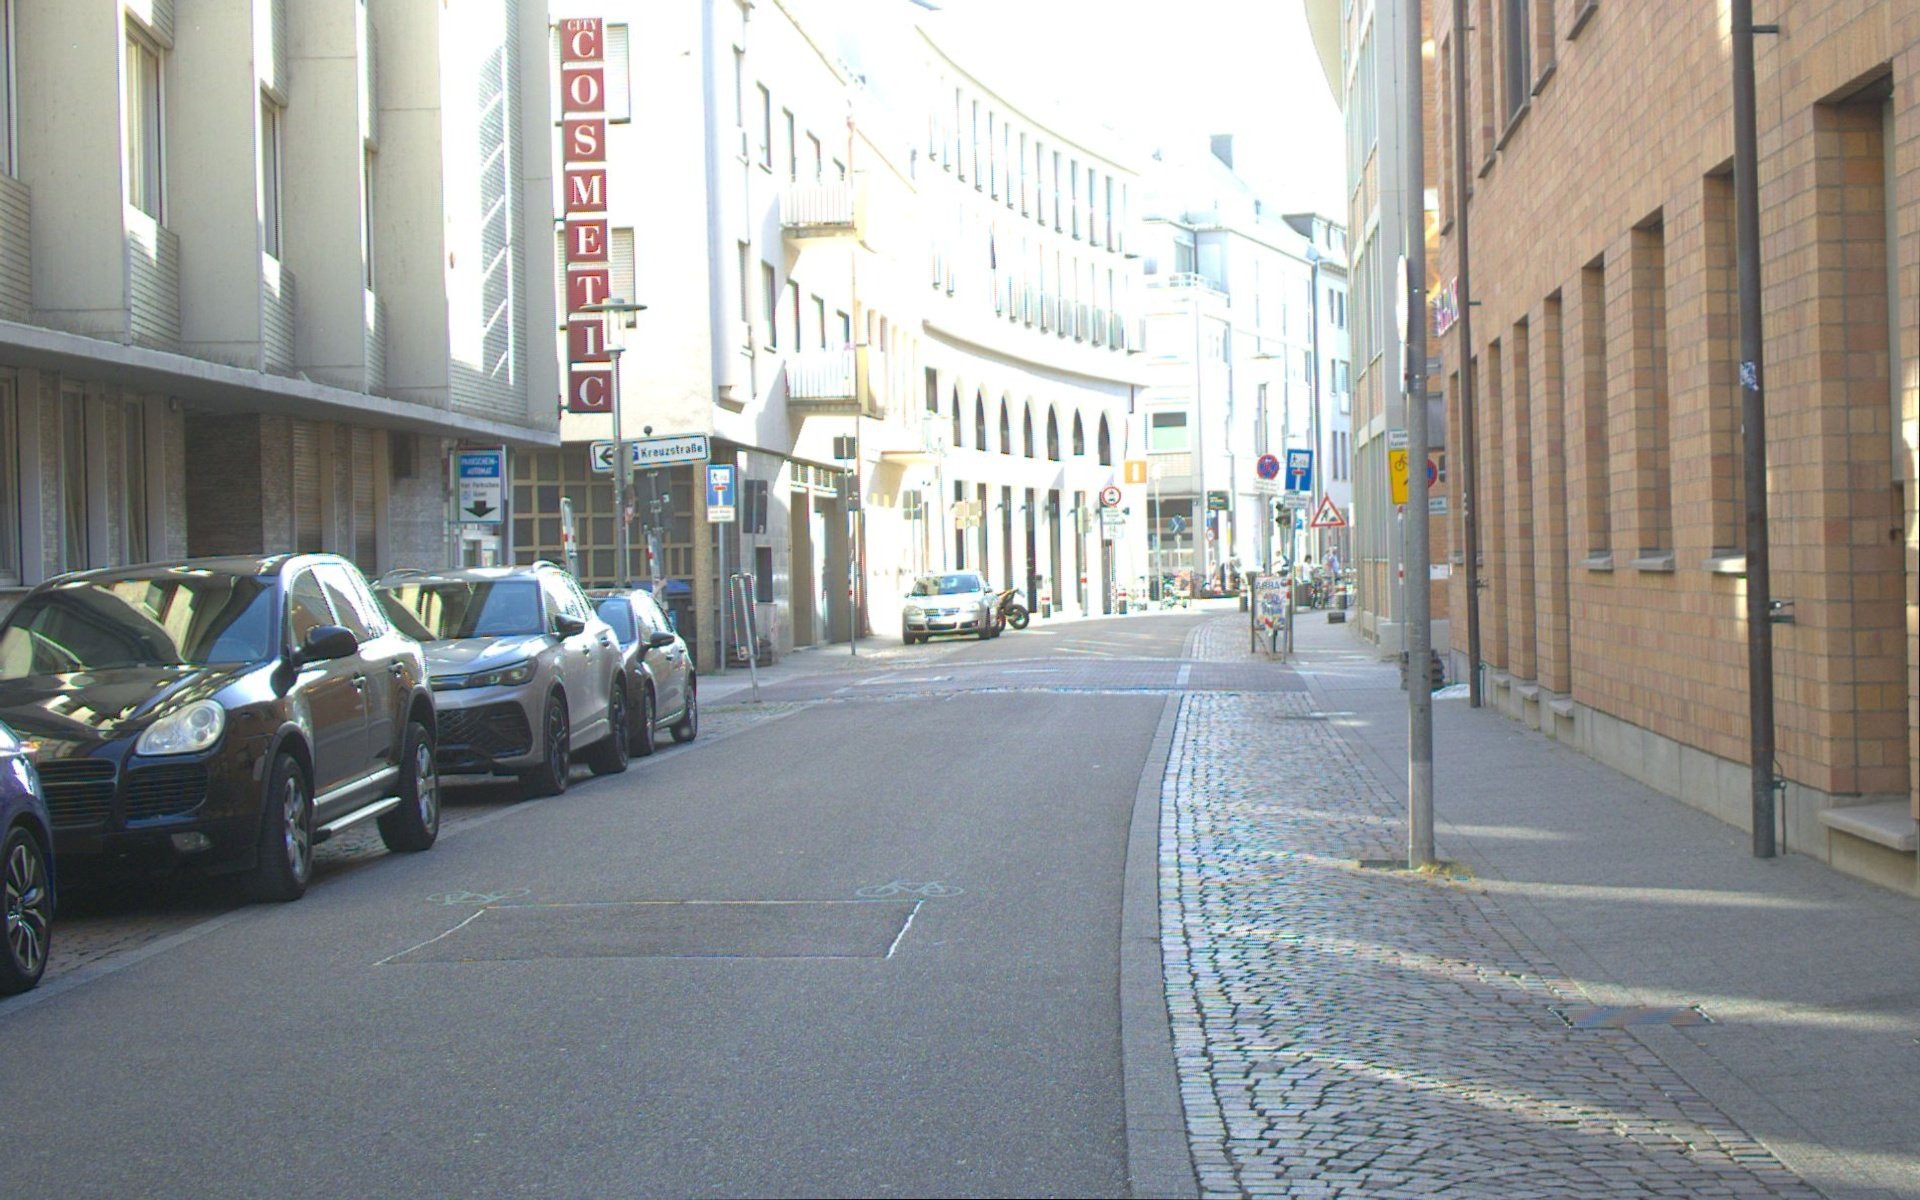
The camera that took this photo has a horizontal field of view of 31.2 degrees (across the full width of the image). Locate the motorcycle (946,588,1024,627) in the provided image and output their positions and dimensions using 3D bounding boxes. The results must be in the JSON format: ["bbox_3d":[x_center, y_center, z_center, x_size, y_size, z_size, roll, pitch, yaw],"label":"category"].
[{"bbox_3d":[0.565,0.168,78.100,1.692,0.856,0.594,1,0,9],"label":"motorcycle"}]

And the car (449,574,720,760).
[{"bbox_3d":[-3.317,0.553,31.047,1.648,1.455,3.998,-4,0,4],"label":"car"}]

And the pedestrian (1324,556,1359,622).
[{"bbox_3d":[10.872,-0.323,97.898,0.659,1.862,0.761,1,0,-26],"label":"pedestrian"}]

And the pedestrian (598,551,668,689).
[{"bbox_3d":[-3.884,0.236,40.826,0.645,1.620,0.457,-1,1,-37],"label":"pedestrian"}]

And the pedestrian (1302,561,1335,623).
[{"bbox_3d":[10.770,-0.242,103.404,0.659,1.862,0.786,1,0,-26],"label":"pedestrian"}]

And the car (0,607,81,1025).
[{"bbox_3d":[-4.562,0.856,11.573,1.890,1.525,4.339,-2,1,2],"label":"car"}]

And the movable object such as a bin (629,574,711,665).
[{"bbox_3d":[-4.548,0.303,53.948,0.931,1.415,0.884,1,0,-43],"label":"movable object such as a bin"}]

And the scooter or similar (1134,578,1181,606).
[{"bbox_3d":[6.681,-0.276,116.266,0.526,0.925,2.223,0,1,34],"label":"scooter or similar"}]

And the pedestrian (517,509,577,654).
[{"bbox_3d":[-4.969,-0.227,41.374,0.448,1.732,0.552,-1,1,27],"label":"pedestrian"}]

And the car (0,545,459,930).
[{"bbox_3d":[-4.005,0.590,17.551,1.890,1.670,4.553,-2,1,4],"label":"car"}]

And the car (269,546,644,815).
[{"bbox_3d":[-3.569,0.506,25.183,1.890,1.736,4.390,-2,1,2],"label":"car"}]

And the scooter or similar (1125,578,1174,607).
[{"bbox_3d":[6.249,-0.252,113.262,0.526,0.925,2.223,0,1,34],"label":"scooter or similar"}]

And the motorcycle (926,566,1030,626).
[{"bbox_3d":[0.439,-0.097,82.021,2.391,1.312,0.862,-2,1,4],"label":"motorcycle"}]

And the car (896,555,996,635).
[{"bbox_3d":[-0.265,-0.121,70.599,1.737,1.600,3.532,0,1,5],"label":"car"}]
